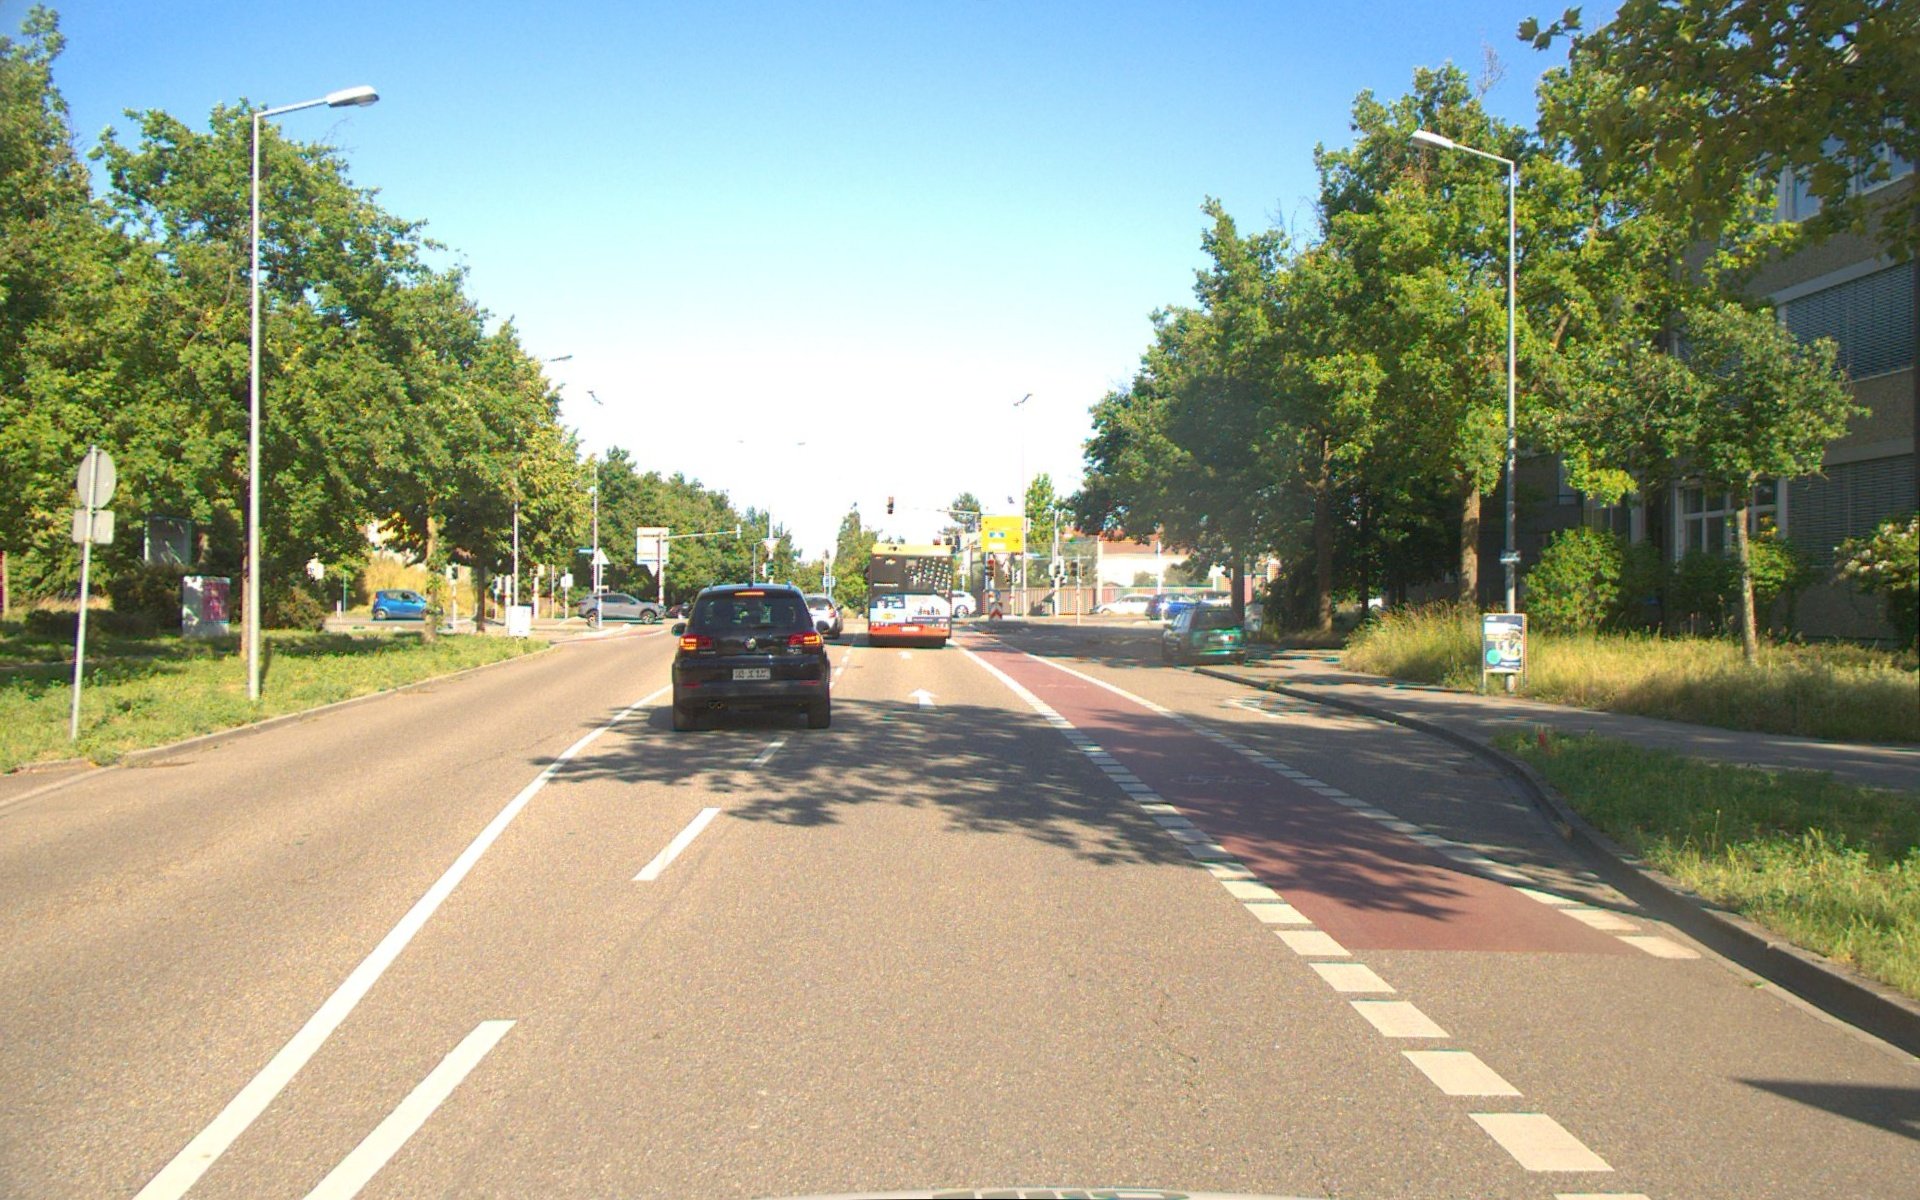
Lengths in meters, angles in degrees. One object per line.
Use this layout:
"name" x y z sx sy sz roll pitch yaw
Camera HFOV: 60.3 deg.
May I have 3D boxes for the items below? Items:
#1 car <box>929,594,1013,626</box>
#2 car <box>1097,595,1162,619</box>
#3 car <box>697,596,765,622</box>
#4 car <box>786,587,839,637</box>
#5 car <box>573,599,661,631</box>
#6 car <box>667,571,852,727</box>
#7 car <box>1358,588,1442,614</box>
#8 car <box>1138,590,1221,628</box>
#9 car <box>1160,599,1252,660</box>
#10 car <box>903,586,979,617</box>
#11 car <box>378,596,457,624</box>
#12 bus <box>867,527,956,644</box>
"car" 0.495 0.436 71.711 3.447 1.325 1.576 1 0 6
"car" 10.561 0.437 103.220 3.774 1.363 1.679 1 -1 -8
"car" -13.292 0.520 95.853 3.822 1.363 1.678 1 -1 -11
"car" -5.361 0.401 59.727 1.721 1.648 4.026 0 1 -8
"car" -17.119 0.759 82.731 4.141 1.506 1.760 1 -1 -7
"car" -2.330 0.559 20.123 1.784 1.703 4.002 0 -1 0
"car" 27.156 0.042 102.096 4.612 1.567 1.997 0 0 -6
"car" 11.570 0.473 87.294 3.911 1.913 1.997 1 -1 -7
"car" 6.159 0.717 41.825 1.560 1.453 4.202 -1 0 -2
"car" -1.150 0.085 97.913 4.300 1.713 1.709 1 -1 -7
"car" -28.708 0.536 87.616 3.777 1.409 1.678 1 -1 -11
"bus" -1.691 -0.443 54.789 2.544 3.393 11.977 1 0 -2
